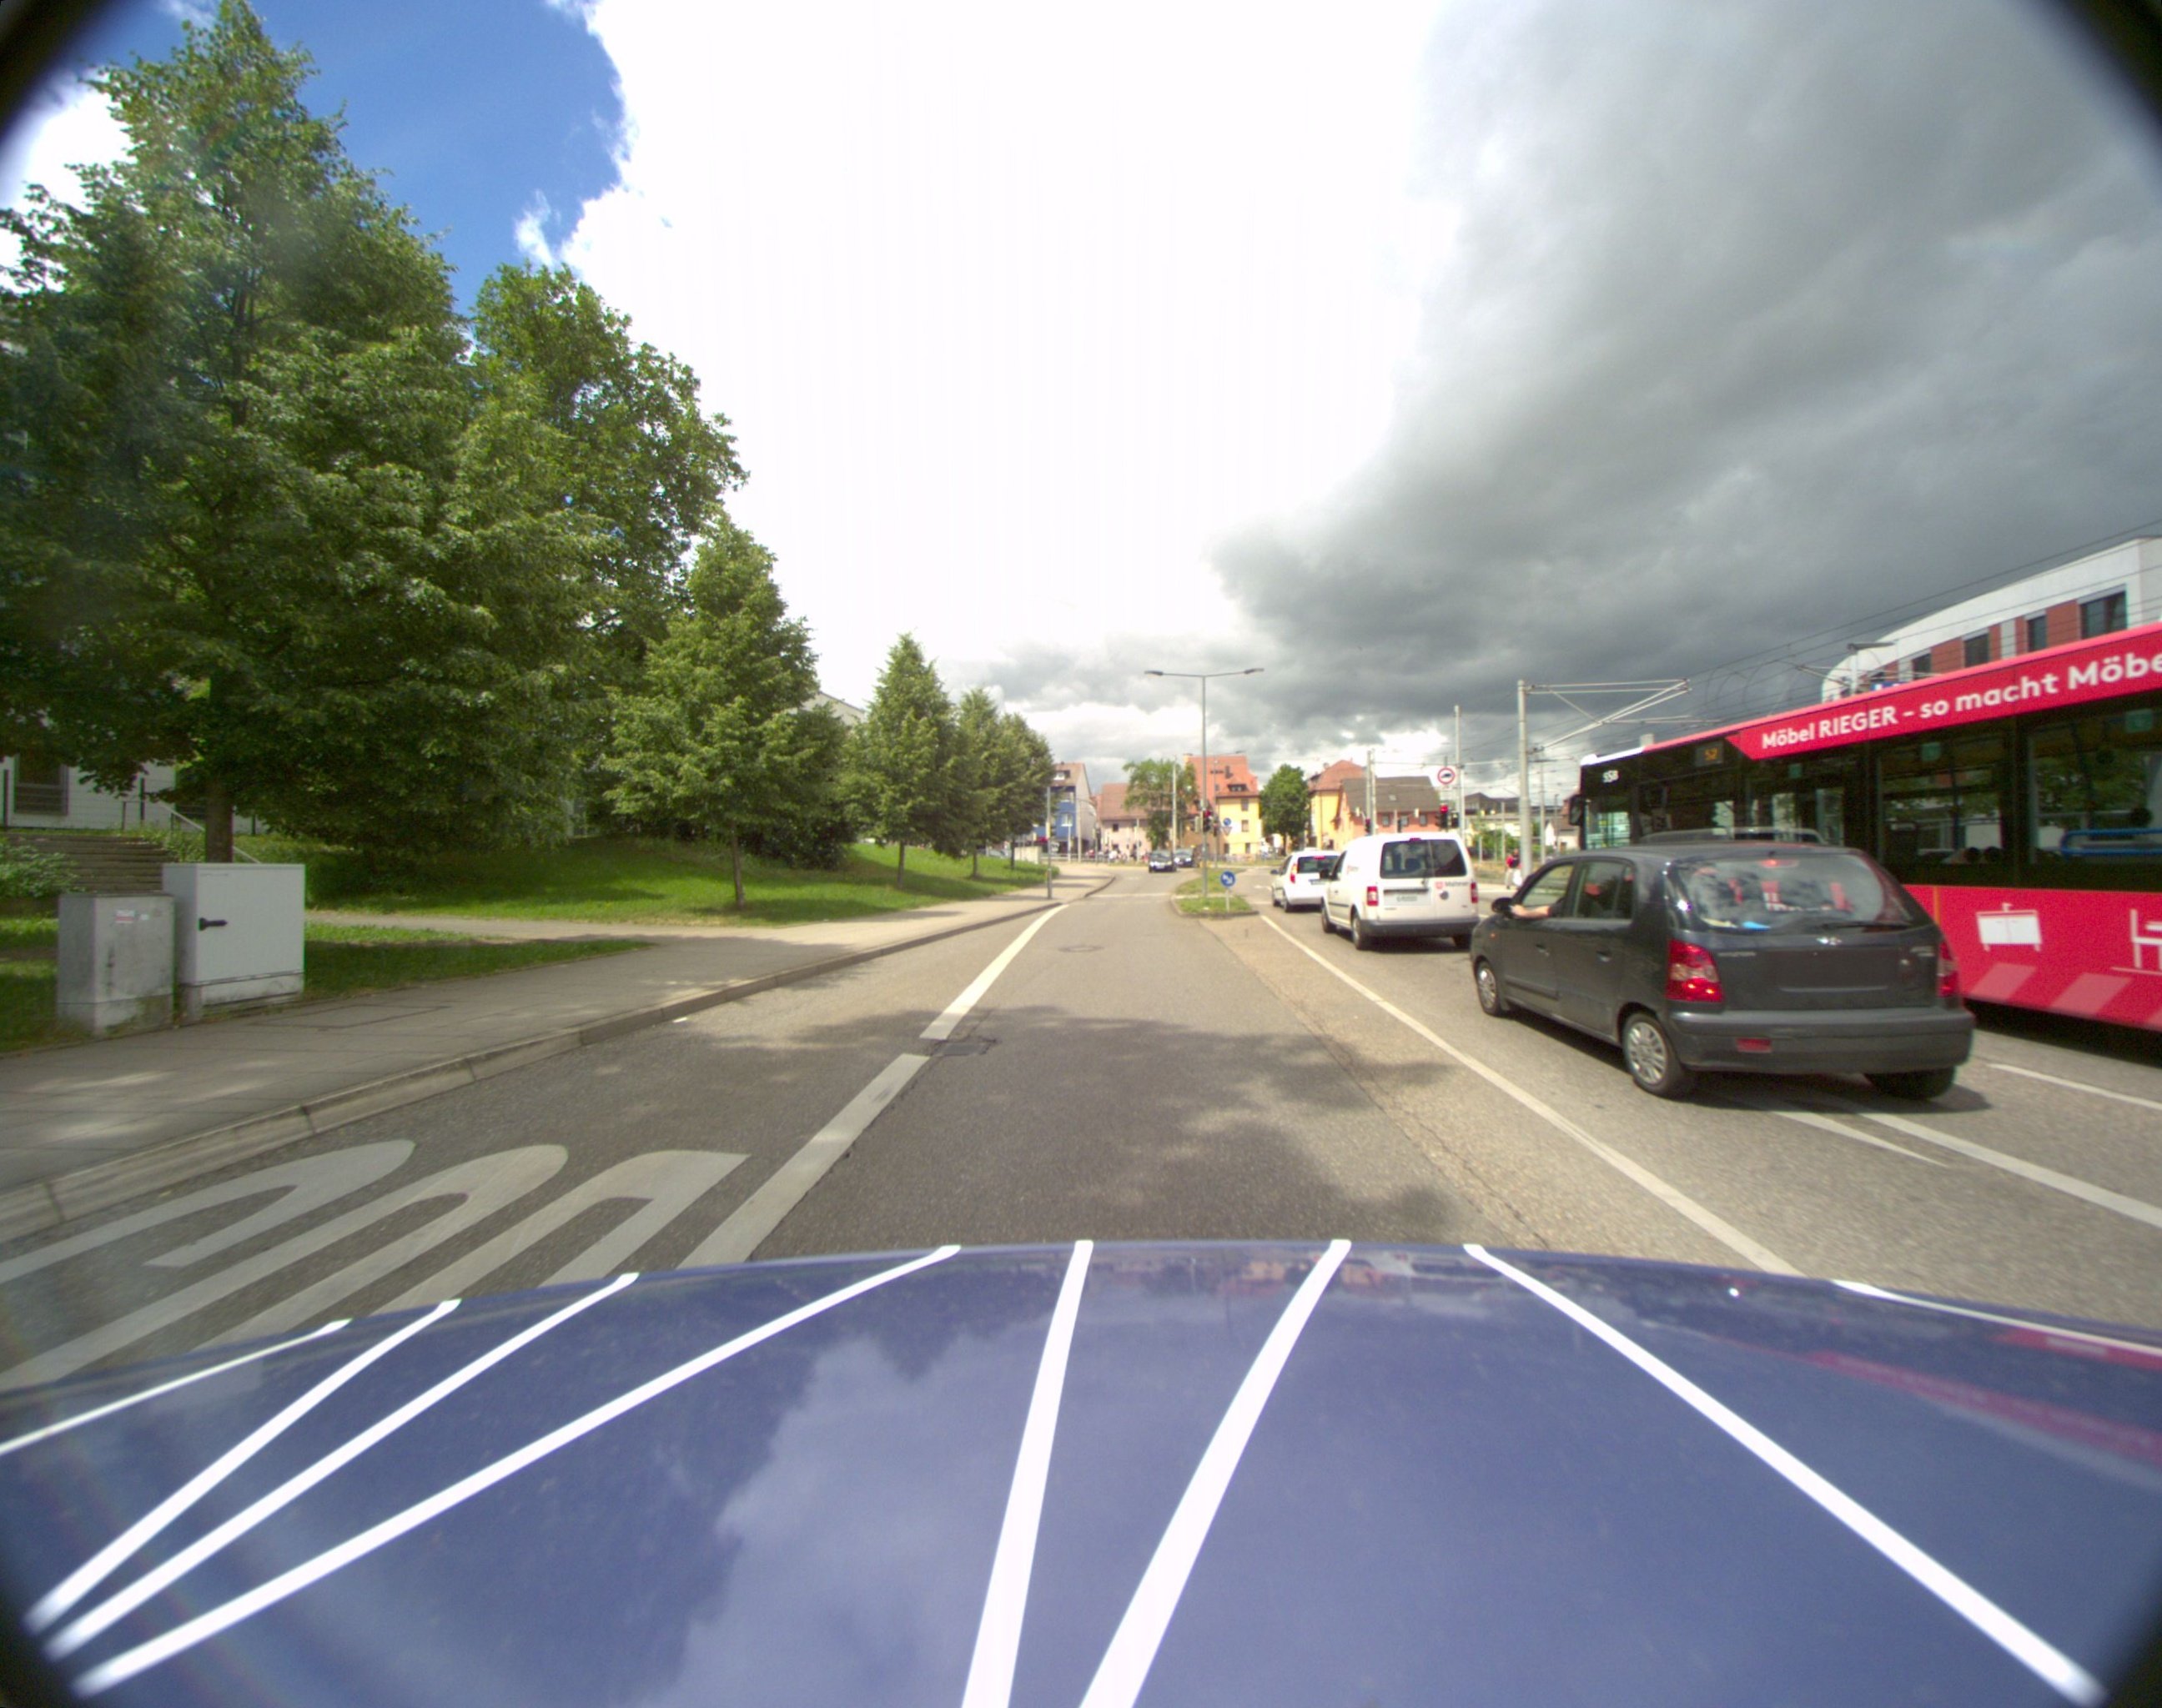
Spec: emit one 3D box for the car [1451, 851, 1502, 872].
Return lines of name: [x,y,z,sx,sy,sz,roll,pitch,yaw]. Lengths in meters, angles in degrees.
car: [37.322,0.687,71.690,5.080,1.812,1.995,-2,1,-32]

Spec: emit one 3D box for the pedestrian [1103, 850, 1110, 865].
pedestrian: [2.943,0.429,86.721,0.674,1.739,0.588,1,0,8]

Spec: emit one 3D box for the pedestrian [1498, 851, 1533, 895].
pedestrian: [15.458,0.655,27.048,0.801,1.531,0.835,0,1,6]

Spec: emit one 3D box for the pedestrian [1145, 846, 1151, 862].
pedestrian: [7.333,0.011,83.237,0.692,1.740,0.752,0,0,3]

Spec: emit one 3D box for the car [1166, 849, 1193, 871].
car: [8.026,0.522,62.089,1.998,1.639,4.423,-1,-2,5]

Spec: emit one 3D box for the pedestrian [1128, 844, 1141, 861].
pedestrian: [5.820,-0.179,82.861,0.969,1.830,0.824,4,-1,-34]

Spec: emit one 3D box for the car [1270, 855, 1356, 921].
car: [6.317,0.873,21.068,1.702,1.639,4.081,-1,0,9]

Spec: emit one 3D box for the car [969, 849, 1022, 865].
car: [-7.646,0.246,67.997,4.312,1.456,2.057,0,1,32]

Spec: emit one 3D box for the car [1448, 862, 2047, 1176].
car: [4.296,0.880,5.765,1.533,1.542,3.734,-2,0,7]

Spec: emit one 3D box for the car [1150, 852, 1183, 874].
car: [6.115,0.660,54.061,1.880,1.420,4.005,-1,-2,12]

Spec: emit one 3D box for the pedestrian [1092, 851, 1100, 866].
pedestrian: [1.731,0.513,85.493,0.753,1.740,0.586,0,0,-20]

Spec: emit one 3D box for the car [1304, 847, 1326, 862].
car: [32.215,0.057,104.742,2.078,1.886,4.666,-1,0,8]

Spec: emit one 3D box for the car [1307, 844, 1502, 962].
car: [5.234,0.727,12.987,1.765,1.652,4.508,0,-1,5]

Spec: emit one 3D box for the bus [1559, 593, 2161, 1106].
bus: [8.189,-0.033,6.855,2.731,3.091,9.710,-1,0,7]
